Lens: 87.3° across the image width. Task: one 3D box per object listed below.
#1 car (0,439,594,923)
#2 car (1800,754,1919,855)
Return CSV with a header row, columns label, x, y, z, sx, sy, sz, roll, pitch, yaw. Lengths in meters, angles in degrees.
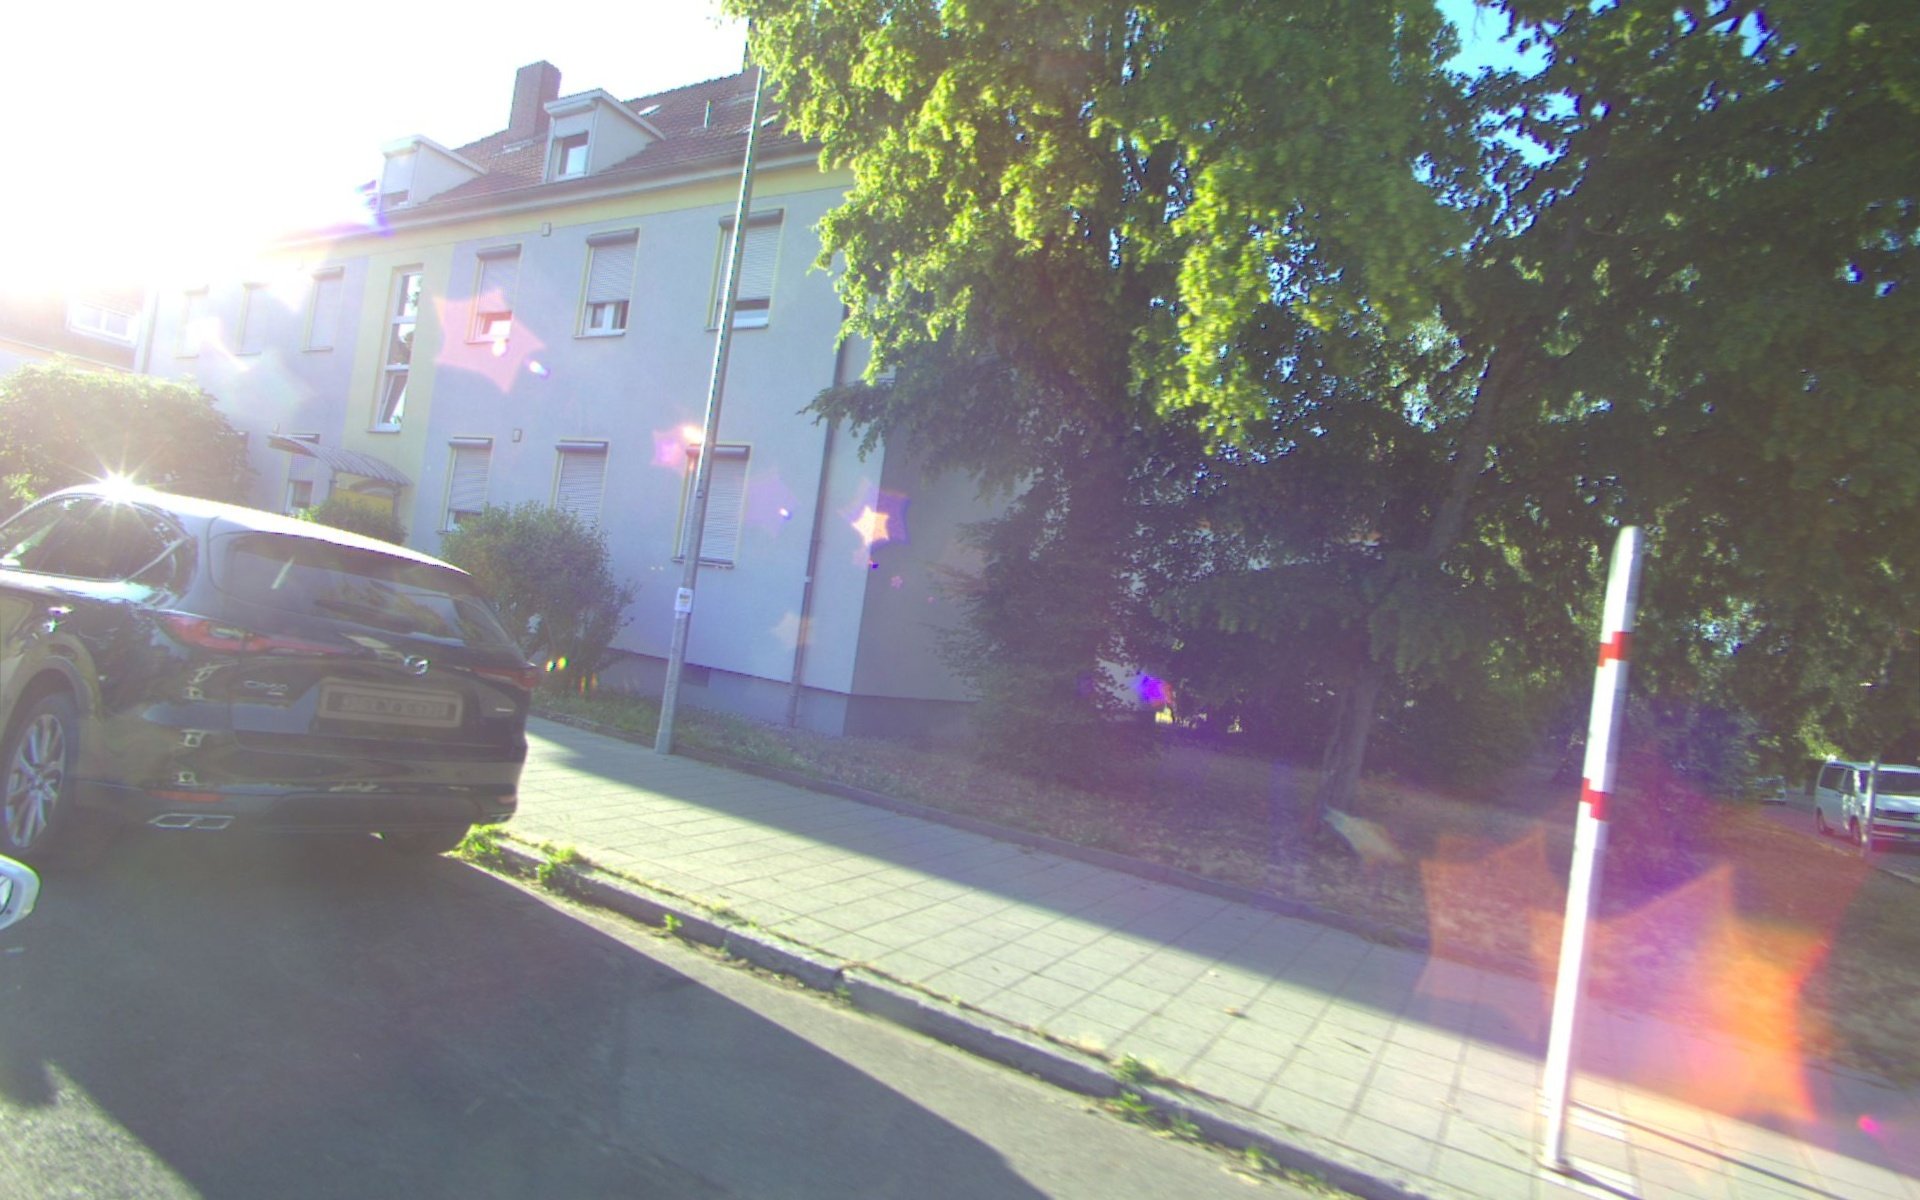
label,x,y,z,sx,sy,sz,roll,pitch,yaw
car,-4.592,0.208,5.693,4.948,1.749,1.839,6,-5,31
car,22.719,4.969,24.626,2.136,1.994,5.019,4,-4,27
